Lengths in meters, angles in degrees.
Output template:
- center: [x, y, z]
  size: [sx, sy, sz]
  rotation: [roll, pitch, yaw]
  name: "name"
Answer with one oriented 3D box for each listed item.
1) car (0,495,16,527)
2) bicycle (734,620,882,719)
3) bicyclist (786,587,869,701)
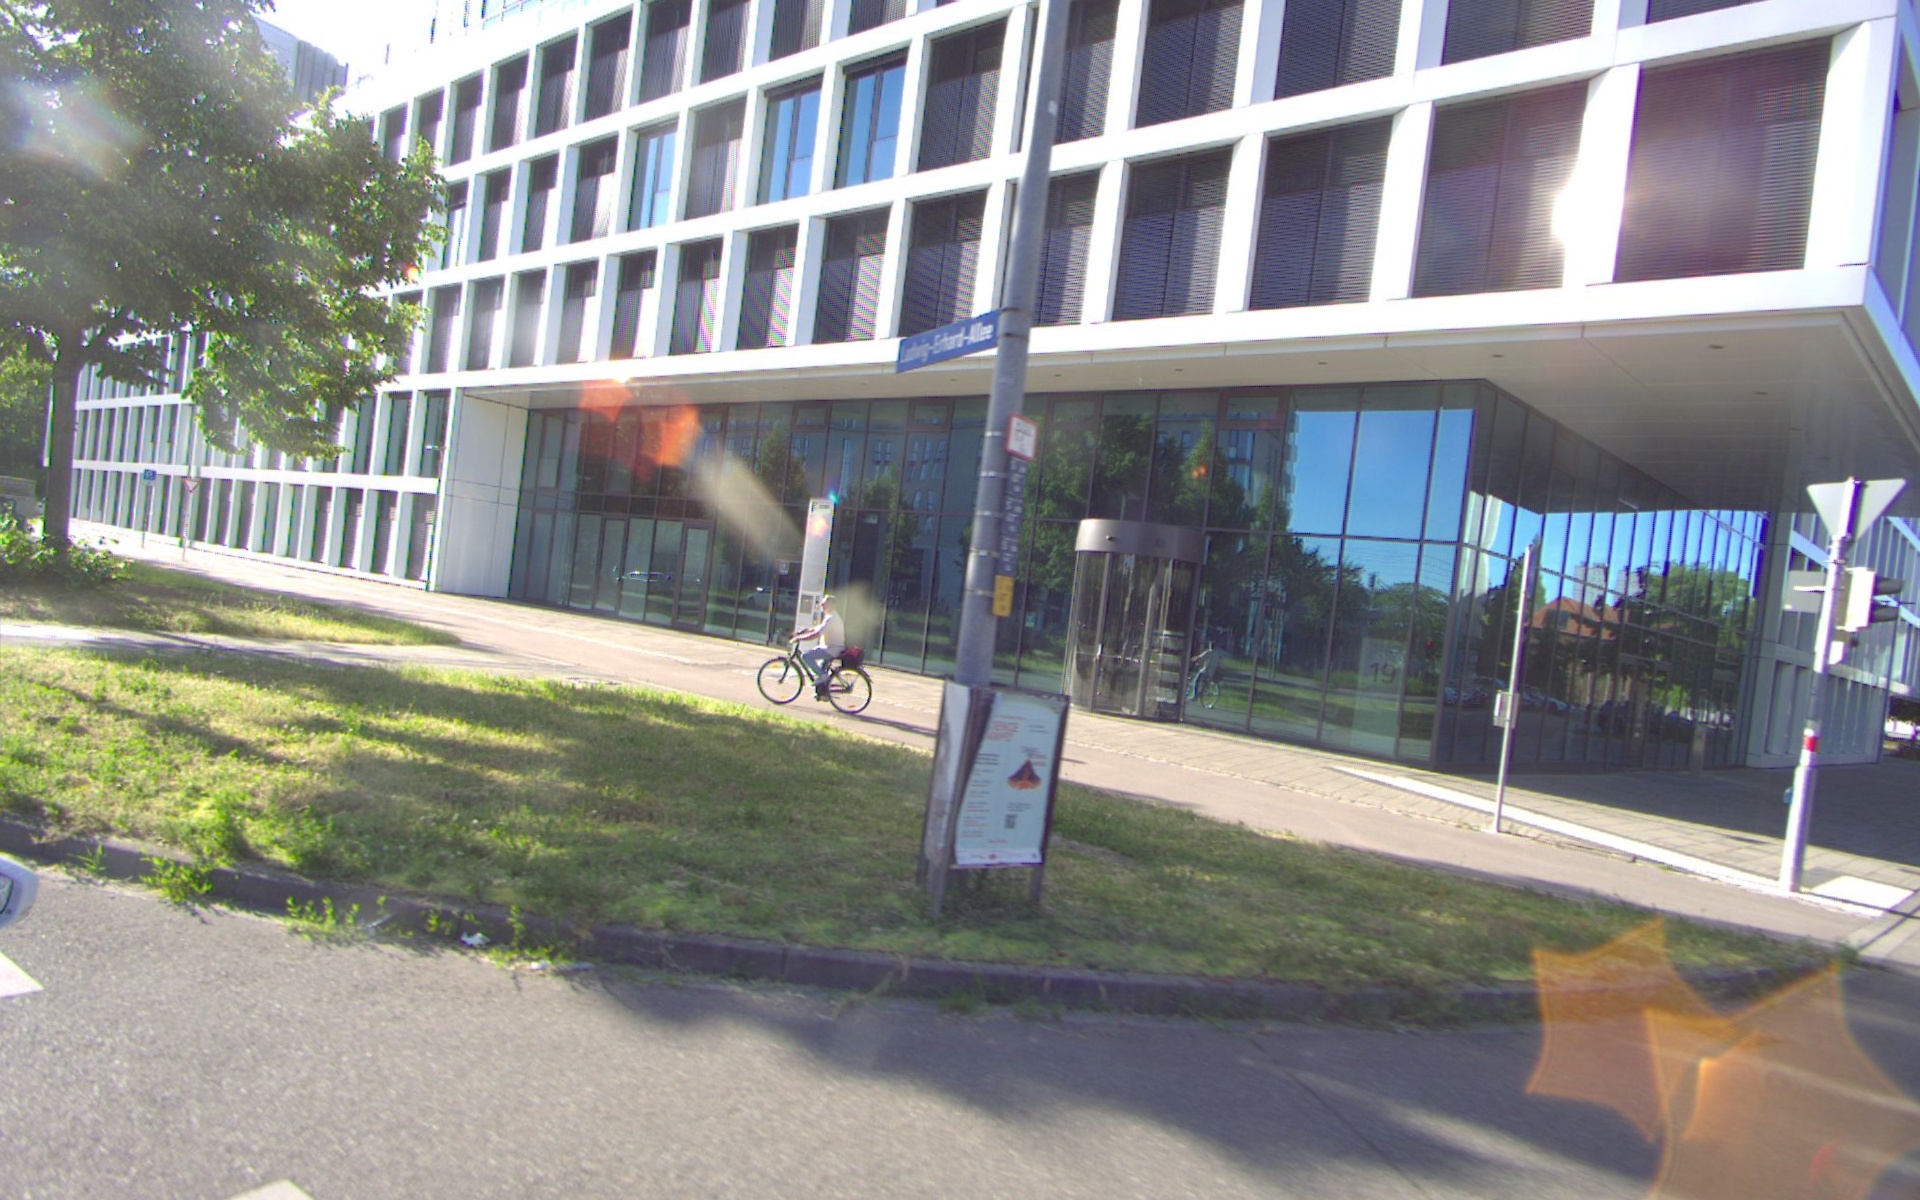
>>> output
- center: [-53.587, -5.057, 55.374]
  size: [3.845, 1.631, 1.757]
  rotation: [7, 0, 38]
  name: "car"
- center: [-2.250, 1.008, 14.946]
  size: [1.924, 1.188, 0.744]
  rotation: [7, 1, 15]
  name: "bicycle"
- center: [-1.951, 0.643, 14.866]
  size: [0.833, 1.550, 0.774]
  rotation: [7, 1, 15]
  name: "bicyclist"
